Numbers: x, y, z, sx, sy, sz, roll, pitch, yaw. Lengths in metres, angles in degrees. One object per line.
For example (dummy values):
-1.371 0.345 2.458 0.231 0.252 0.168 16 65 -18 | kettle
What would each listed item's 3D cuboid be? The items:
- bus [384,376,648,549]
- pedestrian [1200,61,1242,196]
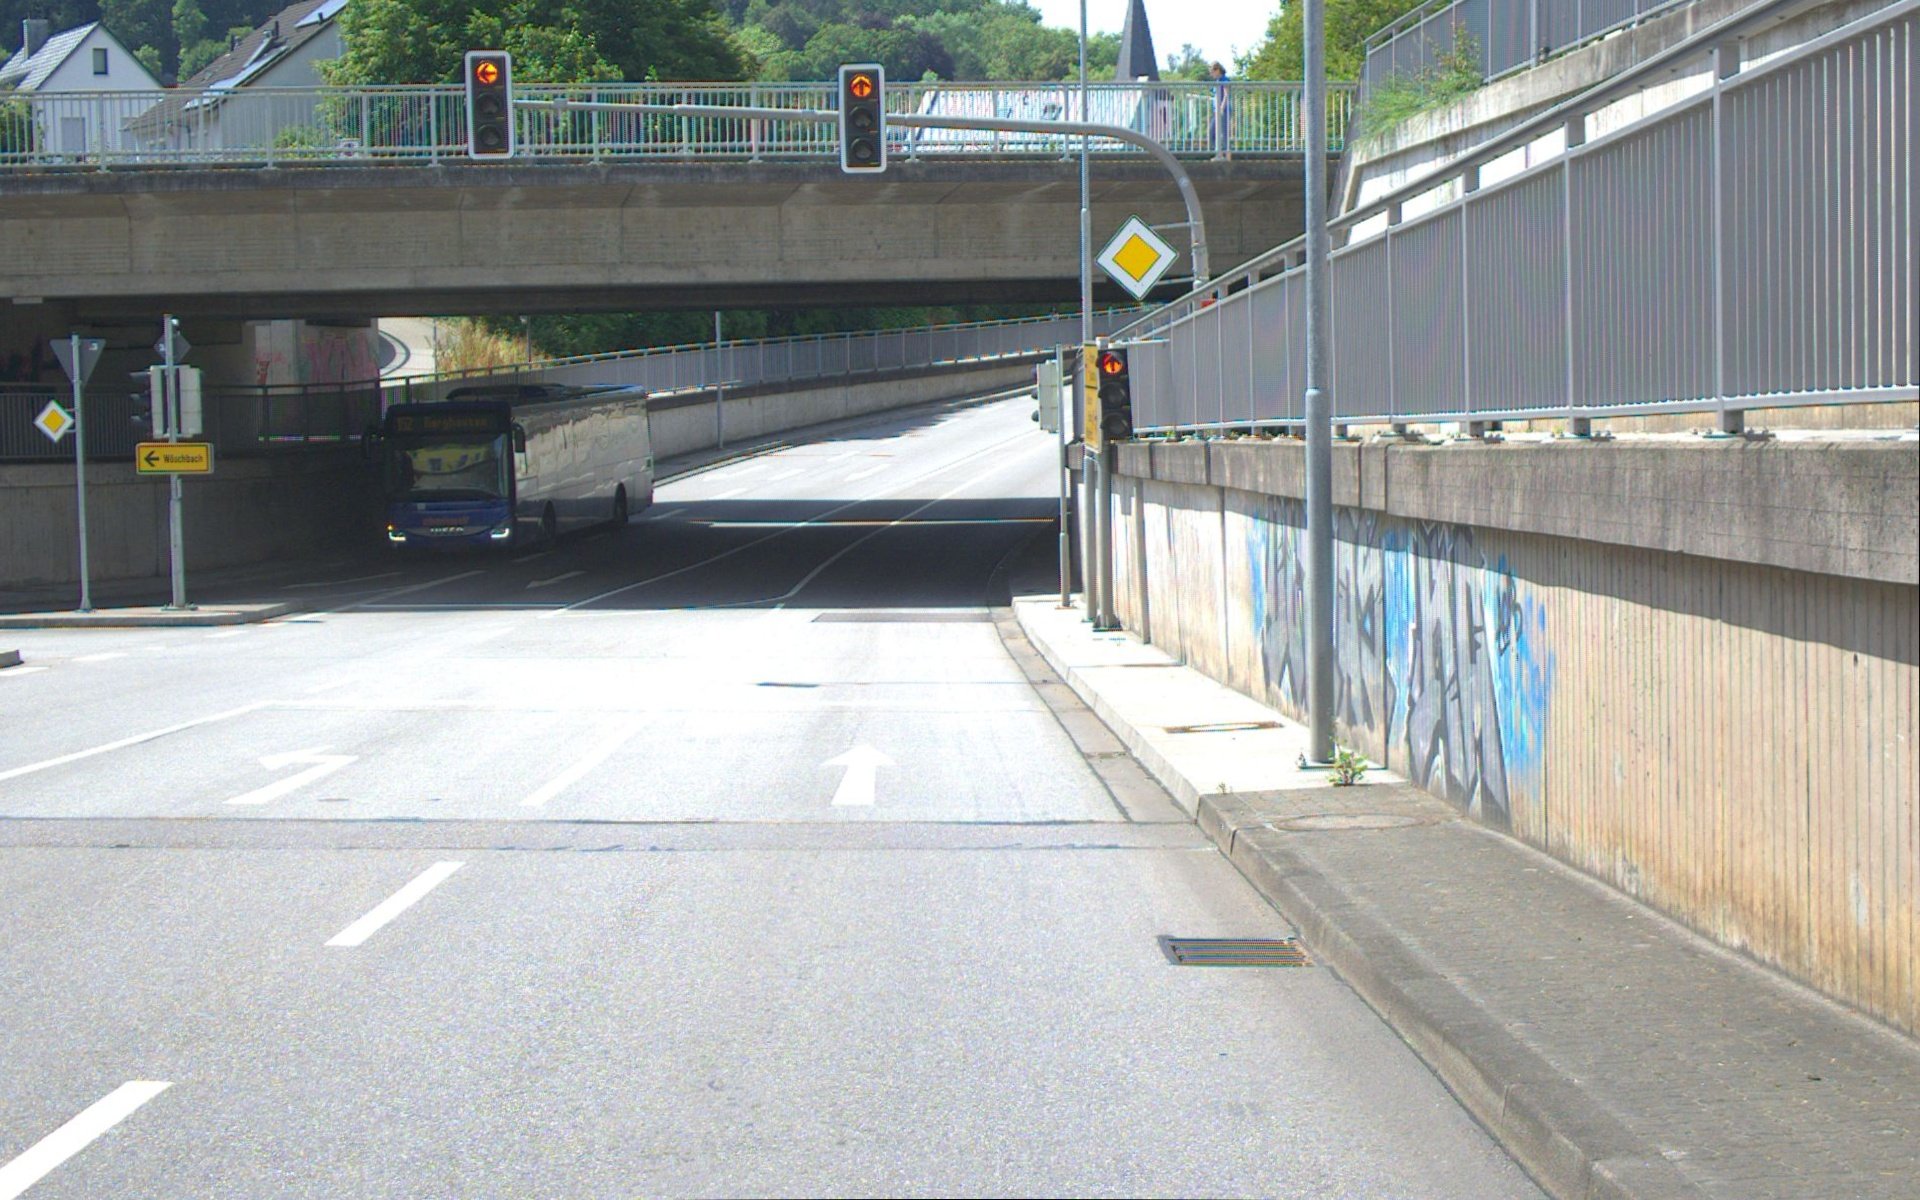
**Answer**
-8.724 -2.915 69.370 2.581 3.161 12.377 0 4 5 | bus
4.166 -7.525 54.900 0.539 2.074 0.535 -2 2 -7 | pedestrian
